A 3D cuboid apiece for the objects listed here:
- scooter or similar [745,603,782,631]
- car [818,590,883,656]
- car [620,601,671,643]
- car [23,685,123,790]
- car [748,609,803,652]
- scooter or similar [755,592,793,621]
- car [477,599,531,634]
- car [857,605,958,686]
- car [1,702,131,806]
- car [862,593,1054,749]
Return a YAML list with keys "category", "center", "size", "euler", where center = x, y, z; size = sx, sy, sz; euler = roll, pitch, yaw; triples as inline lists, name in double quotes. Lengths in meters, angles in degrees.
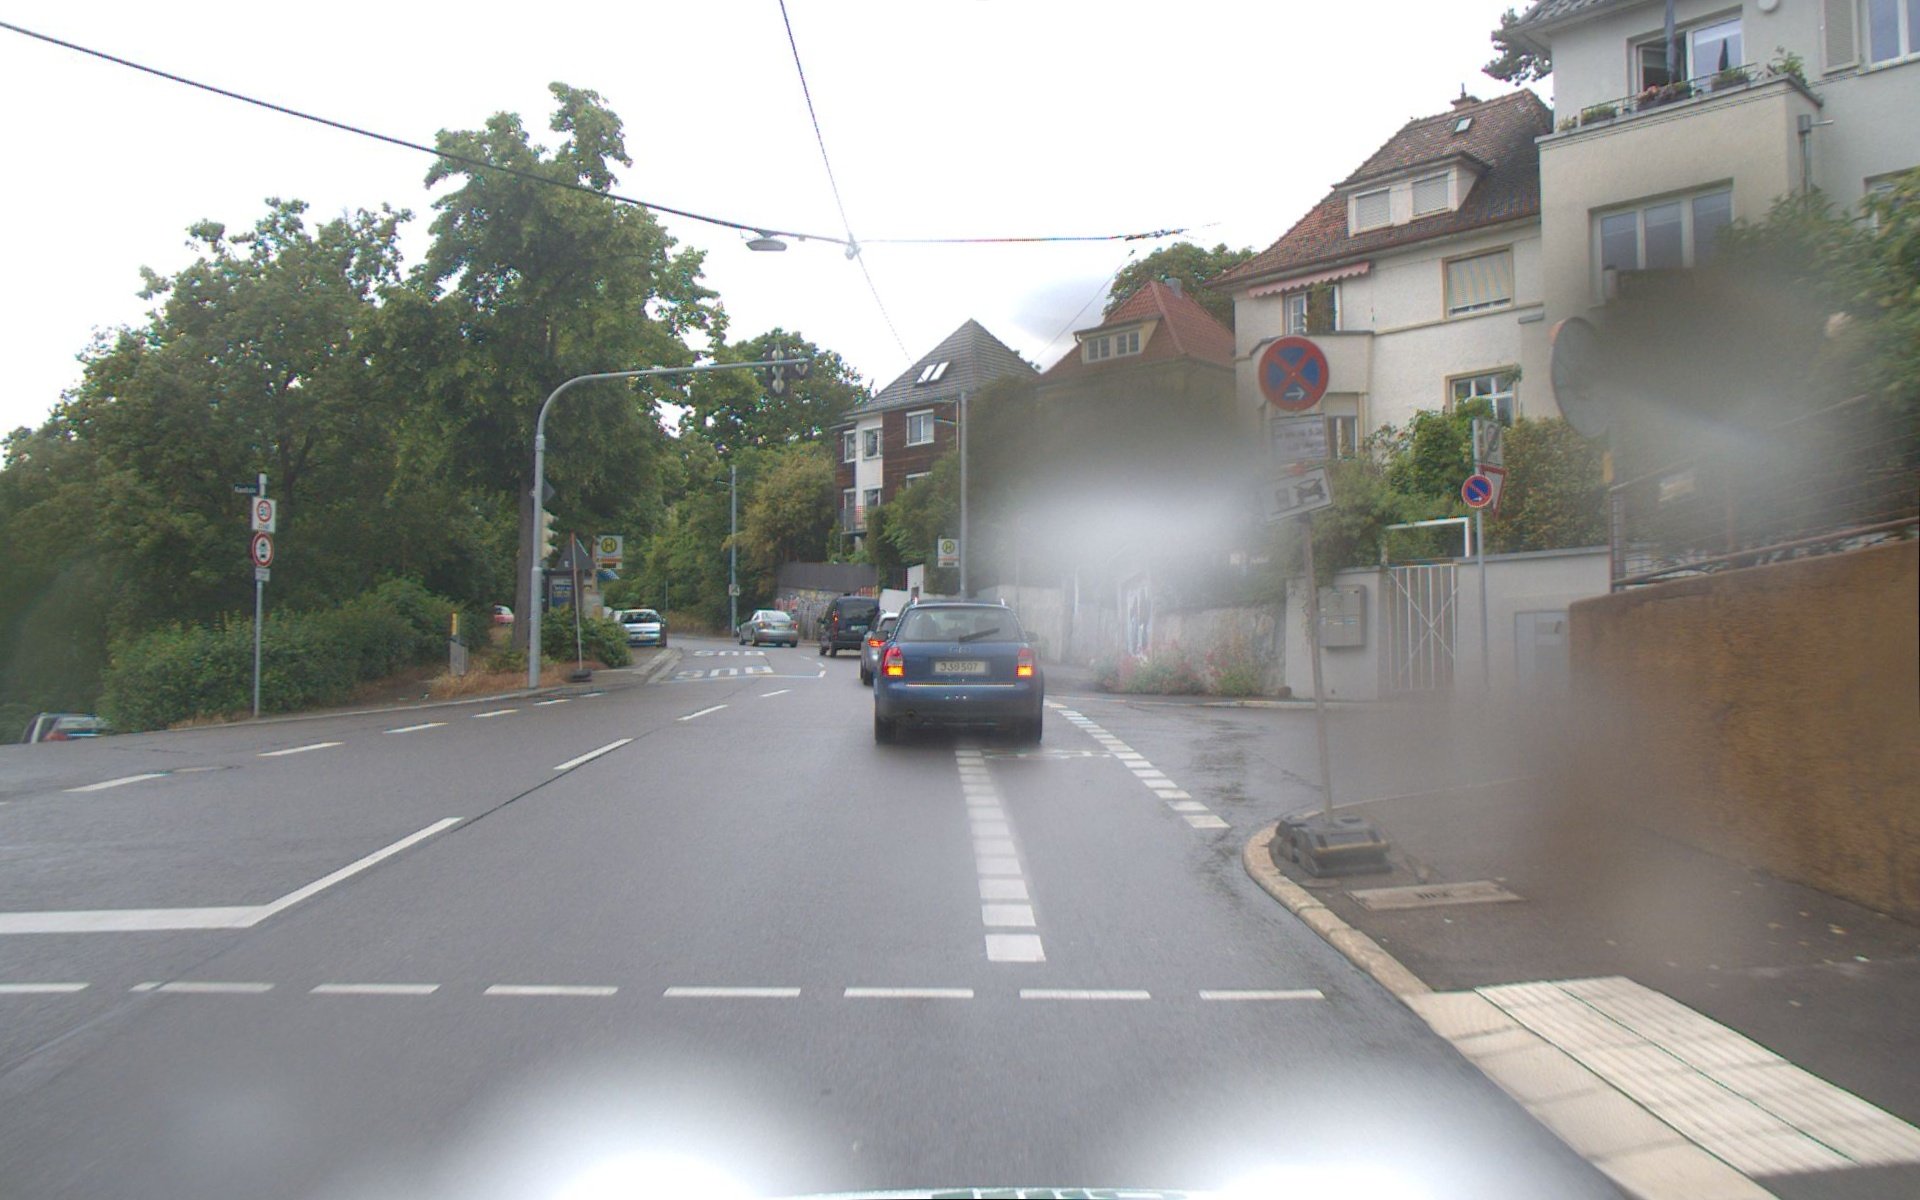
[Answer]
- category: "scooter or similar"
  center: [-10.420, 0.904, 87.605]
  size: [1.803, 1.338, 0.598]
  euler: [5, -4, -14]
- category: "car"
  center: [-3.448, 0.683, 51.509]
  size: [1.698, 1.927, 4.048]
  euler: [-1, 0, -8]
- category: "car"
  center: [-11.672, 0.783, 61.264]
  size: [1.645, 1.451, 3.985]
  euler: [-1, 0, -14]
- category: "car"
  center: [-20.349, 3.117, 38.061]
  size: [1.727, 2.049, 3.965]
  euler: [6, -3, -27]
- category: "car"
  center: [-7.331, 1.166, 65.458]
  size: [1.735, 1.597, 4.017]
  euler: [-1, 0, -13]
- category: "scooter or similar"
  center: [-9.681, 0.339, 86.178]
  size: [1.803, 1.338, 0.598]
  euler: [5, -4, -14]
- category: "car"
  center: [-24.654, 0.895, 89.367]
  size: [1.971, 1.758, 3.963]
  euler: [-2, 0, -28]
- category: "car"
  center: [-1.129, 0.879, 33.787]
  size: [1.871, 1.412, 4.347]
  euler: [3, 0, -3]
- category: "car"
  center: [-18.061, 3.069, 33.350]
  size: [1.825, 1.781, 3.953]
  euler: [7, -5, -33]
- category: "car"
  center: [0.095, 0.673, 17.673]
  size: [1.740, 1.464, 4.002]
  euler: [0, 0, 4]
